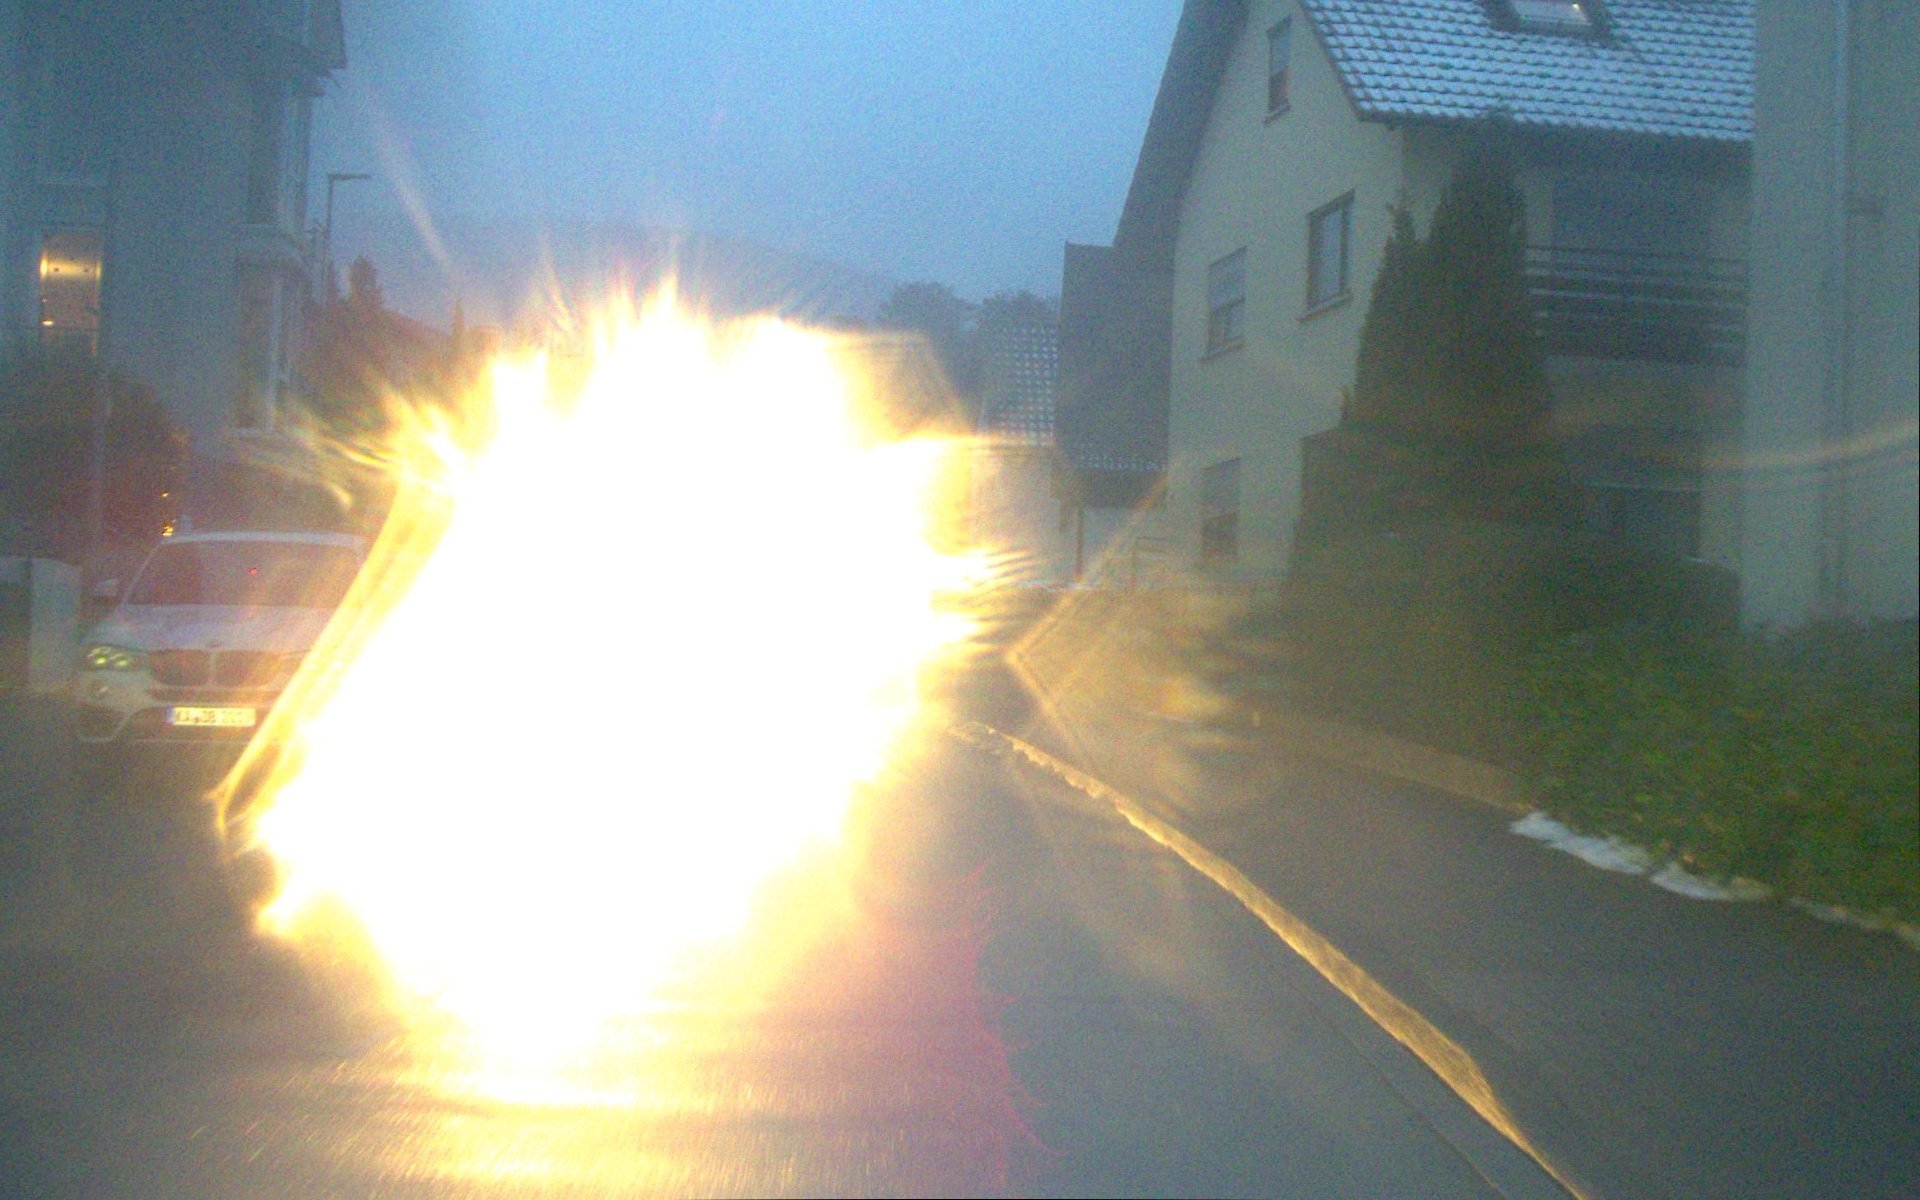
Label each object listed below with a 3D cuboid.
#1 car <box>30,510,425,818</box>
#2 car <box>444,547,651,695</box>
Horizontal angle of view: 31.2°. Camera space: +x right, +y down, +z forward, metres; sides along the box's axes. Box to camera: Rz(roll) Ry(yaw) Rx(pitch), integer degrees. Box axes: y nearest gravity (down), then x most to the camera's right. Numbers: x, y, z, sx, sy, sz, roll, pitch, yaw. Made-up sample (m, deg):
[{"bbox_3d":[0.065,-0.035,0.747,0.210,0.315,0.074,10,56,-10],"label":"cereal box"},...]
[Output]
[{"bbox_3d":[-4.611,0.354,22.188,1.993,1.794,4.001,0,1,-5],"label":"car"},{"bbox_3d":[-4.795,0.268,40.493,1.993,1.644,4.000,0,-1,-1],"label":"car"}]
